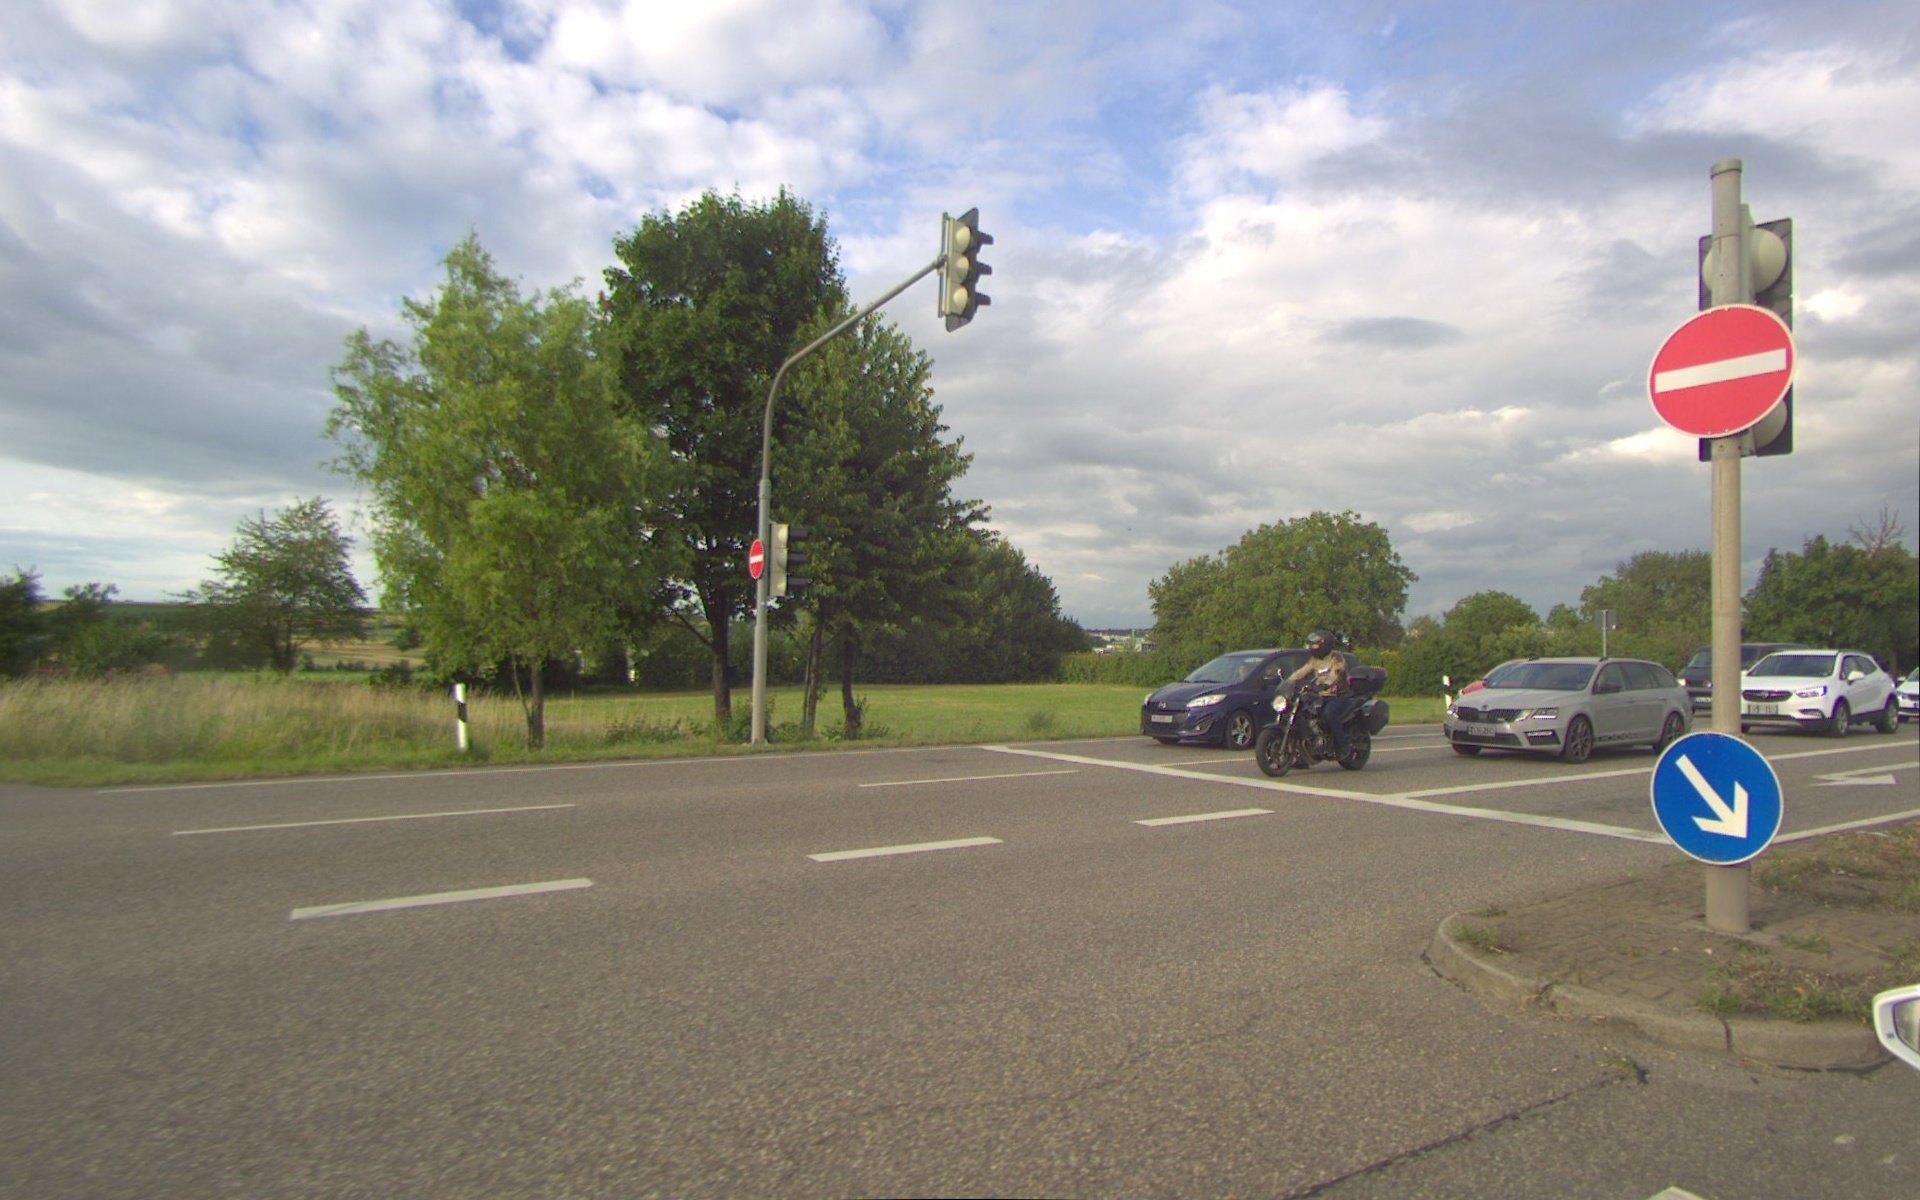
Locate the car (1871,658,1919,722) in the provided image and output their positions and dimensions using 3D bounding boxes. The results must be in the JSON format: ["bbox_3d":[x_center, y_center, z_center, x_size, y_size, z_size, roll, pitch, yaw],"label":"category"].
[{"bbox_3d":[23.979,2.159,24.300,4.113,1.463,1.780,2,-3,-31],"label":"car"}]

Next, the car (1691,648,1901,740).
[{"bbox_3d":[16.633,1.794,19.941,4.355,1.631,1.898,2,-3,-31],"label":"car"}]

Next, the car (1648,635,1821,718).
[{"bbox_3d":[20.688,2.040,26.790,4.890,2.039,1.984,3,-4,-31],"label":"car"}]

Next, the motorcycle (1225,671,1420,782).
[{"bbox_3d":[4.448,1.492,12.269,2.450,1.219,0.912,3,-4,-31],"label":"motorcycle"}]

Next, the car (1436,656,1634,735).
[{"bbox_3d":[12.237,1.965,21.330,4.137,1.484,1.898,2,-3,-31],"label":"car"}]

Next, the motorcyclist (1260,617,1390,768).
[{"bbox_3d":[4.456,1.112,12.278,1.261,1.731,0.912,3,-4,-31],"label":"motorcyclist"}]

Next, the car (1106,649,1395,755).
[{"bbox_3d":[4.948,1.626,16.891,4.883,1.555,1.898,2,-3,-31],"label":"car"}]

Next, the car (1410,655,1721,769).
[{"bbox_3d":[9.204,1.585,15.141,5.094,1.447,1.898,2,-3,-31],"label":"car"}]
